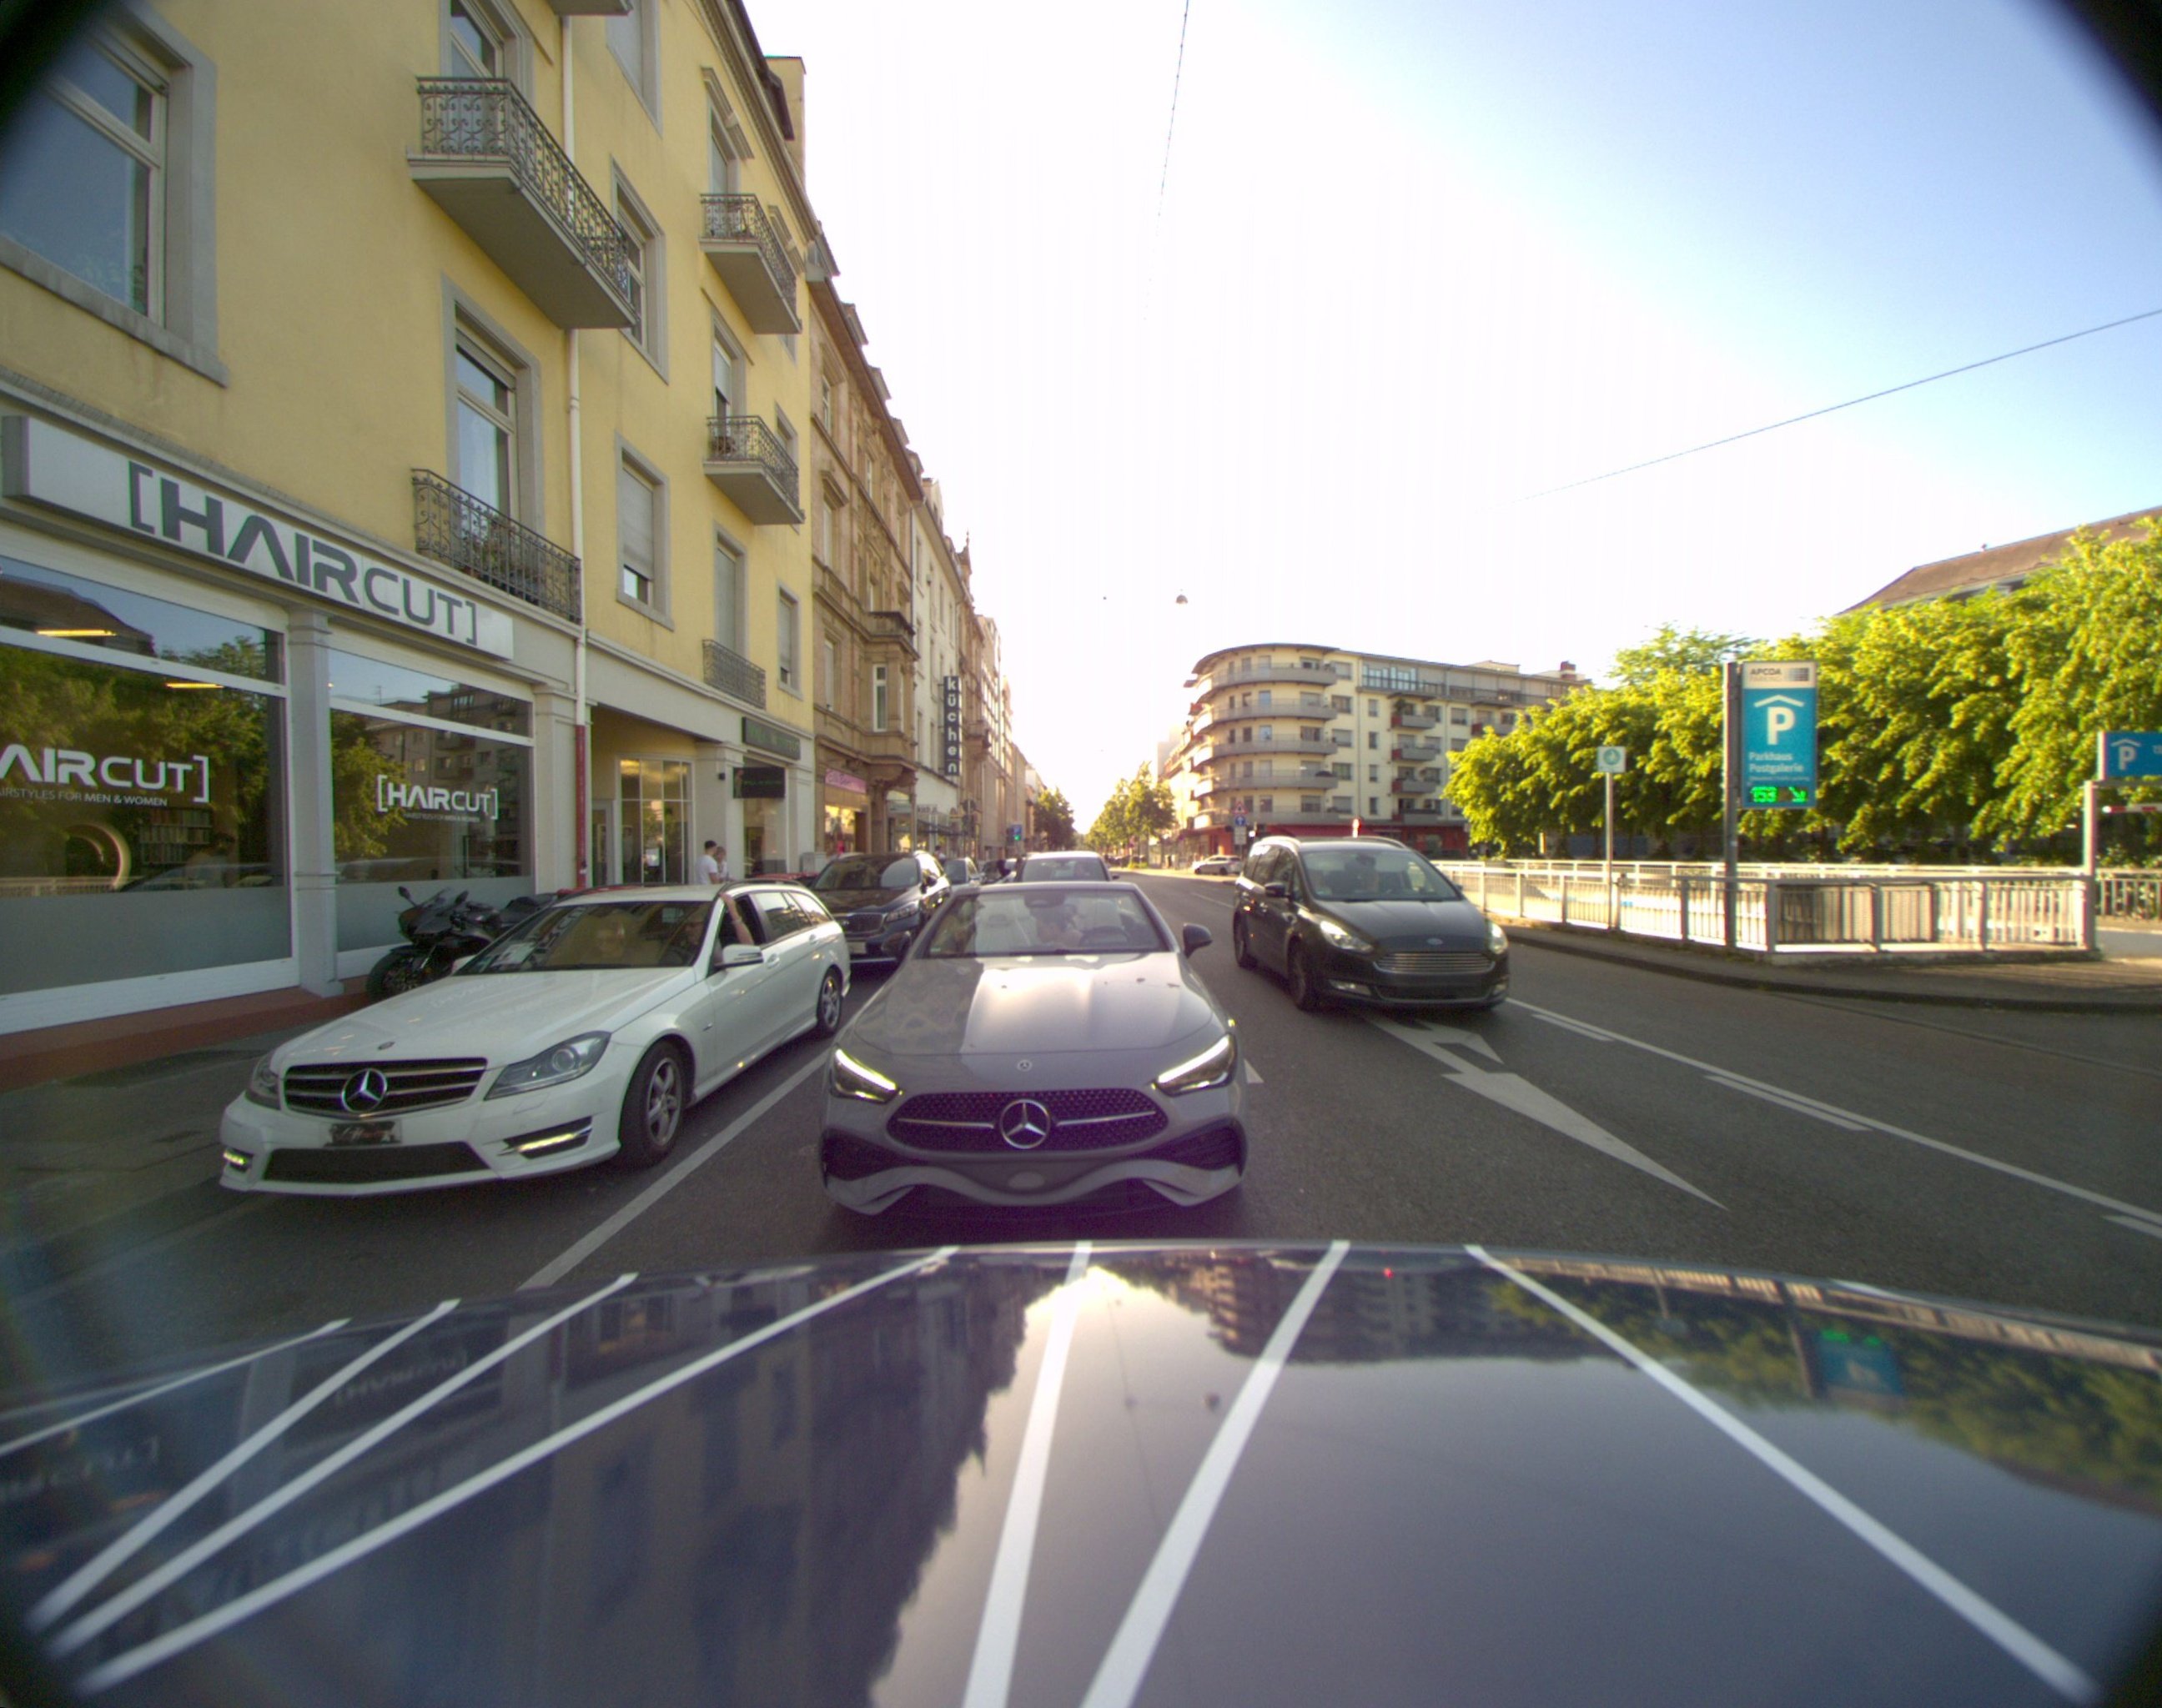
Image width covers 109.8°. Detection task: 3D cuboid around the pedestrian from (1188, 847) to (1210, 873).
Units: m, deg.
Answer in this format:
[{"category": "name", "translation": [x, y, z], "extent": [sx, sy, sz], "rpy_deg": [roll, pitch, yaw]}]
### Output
[{"category": "pedestrian", "translation": [9.214, 0.476, 59.356], "extent": [1.202, 2.002, 1.018], "rpy_deg": [-3, 1, -37]}]

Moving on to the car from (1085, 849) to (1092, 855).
[{"category": "car", "translation": [2.264, -0.497, 227.646], "extent": [1.998, 1.805, 4.000], "rpy_deg": [-1, 0, 2]}]

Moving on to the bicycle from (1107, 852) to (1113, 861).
[{"category": "bicycle", "translation": [3.767, 0.278, 97.890], "extent": [0.661, 1.083, 1.971], "rpy_deg": [-1, 0, 4]}]

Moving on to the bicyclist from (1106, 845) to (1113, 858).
[{"category": "bicyclist", "translation": [3.656, -0.373, 97.996], "extent": [0.757, 1.651, 1.144], "rpy_deg": [-2, 1, 5]}]

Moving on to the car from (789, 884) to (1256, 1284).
[{"category": "car", "translation": [-0.253, 1.016, 5.209], "extent": [1.849, 1.371, 4.255], "rpy_deg": [-2, 0, -1]}]

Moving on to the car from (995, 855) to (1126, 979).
[{"category": "car", "translation": [-0.249, 0.852, 12.170], "extent": [1.716, 1.599, 4.000], "rpy_deg": [-1, 0, 1]}]

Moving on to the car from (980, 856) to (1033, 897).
[{"category": "car", "translation": [-2.939, 0.869, 30.722], "extent": [1.715, 1.477, 3.999], "rpy_deg": [-1, 0, 0]}]

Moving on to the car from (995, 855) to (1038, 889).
[{"category": "car", "translation": [-3.047, 0.817, 36.474], "extent": [1.715, 1.477, 3.999], "rpy_deg": [-1, 0, 0]}]

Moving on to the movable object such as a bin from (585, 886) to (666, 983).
[{"category": "movable object such as a bin", "translation": [-6.057, 1.055, 10.133], "extent": [0.647, 1.200, 0.644], "rpy_deg": [-1, 1, 1]}]

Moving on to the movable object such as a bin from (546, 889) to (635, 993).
[{"category": "movable object such as a bin", "translation": [-6.106, 1.064, 9.481], "extent": [0.647, 1.200, 0.644], "rpy_deg": [-1, 1, 1]}]

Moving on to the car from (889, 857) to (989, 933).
[{"category": "car", "translation": [-3.237, 0.892, 17.871], "extent": [1.696, 1.559, 3.018], "rpy_deg": [-1, 0, 1]}]

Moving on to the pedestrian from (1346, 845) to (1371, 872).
[{"category": "pedestrian", "translation": [21.683, 0.350, 59.389], "extent": [1.234, 2.002, 1.259], "rpy_deg": [-2, 1, -21]}]

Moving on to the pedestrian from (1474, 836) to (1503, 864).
[{"category": "pedestrian", "translation": [29.682, -0.281, 55.313], "extent": [1.320, 2.002, 1.293], "rpy_deg": [-2, 1, -19]}]

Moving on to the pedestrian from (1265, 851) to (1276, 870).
[{"category": "pedestrian", "translation": [15.057, 0.509, 60.264], "extent": [0.791, 1.452, 0.583], "rpy_deg": [-1, 1, 10]}]

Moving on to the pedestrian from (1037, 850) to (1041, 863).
[{"category": "pedestrian", "translation": [-5.925, 0.316, 107.183], "extent": [0.527, 1.875, 0.569], "rpy_deg": [-1, 1, 3]}]

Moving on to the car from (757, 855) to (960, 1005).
[{"category": "car", "translation": [-2.990, 0.894, 11.317], "extent": [1.858, 1.688, 4.697], "rpy_deg": [-1, 0, -4]}]

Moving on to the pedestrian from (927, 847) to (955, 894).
[{"category": "pedestrian", "translation": [-4.886, 0.562, 26.606], "extent": [0.795, 1.607, 0.763], "rpy_deg": [-1, 1, -1]}]

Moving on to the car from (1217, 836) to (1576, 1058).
[{"category": "car", "translation": [2.959, 0.733, 8.457], "extent": [1.999, 1.761, 4.727], "rpy_deg": [-1, 0, 0]}]

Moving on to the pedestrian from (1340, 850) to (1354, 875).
[{"category": "pedestrian", "translation": [18.646, 0.583, 53.266], "extent": [0.674, 1.696, 0.699], "rpy_deg": [-2, 1, -7]}]

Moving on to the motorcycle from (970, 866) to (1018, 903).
[{"category": "motorcycle", "translation": [-3.054, 1.051, 26.781], "extent": [0.769, 1.225, 1.546], "rpy_deg": [-1, 1, 42]}]

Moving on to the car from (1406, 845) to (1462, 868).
[{"category": "car", "translation": [29.039, 0.186, 62.443], "extent": [4.004, 1.740, 1.996], "rpy_deg": [-2, 1, -23]}]

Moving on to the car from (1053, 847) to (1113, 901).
[{"category": "car", "translation": [0.084, 0.652, 27.206], "extent": [1.952, 1.742, 4.000], "rpy_deg": [-1, 0, 1]}]

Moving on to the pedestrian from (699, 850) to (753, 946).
[{"category": "pedestrian", "translation": [-6.125, 0.748, 13.137], "extent": [0.572, 1.607, 0.643], "rpy_deg": [-1, 1, 2]}]

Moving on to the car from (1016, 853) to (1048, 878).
[{"category": "car", "translation": [-3.020, 0.696, 47.587], "extent": [1.715, 1.477, 4.062], "rpy_deg": [-1, 0, 0]}]

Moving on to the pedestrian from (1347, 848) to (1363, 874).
[{"category": "pedestrian", "translation": [19.288, 0.486, 53.475], "extent": [0.755, 1.795, 0.756], "rpy_deg": [-2, 1, -22]}]

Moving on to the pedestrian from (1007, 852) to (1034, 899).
[{"category": "pedestrian", "translation": [-2.199, 0.768, 27.439], "extent": [0.694, 1.657, 0.833], "rpy_deg": [-2, 1, -24]}]

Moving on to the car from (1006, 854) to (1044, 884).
[{"category": "car", "translation": [-2.979, 0.767, 40.992], "extent": [1.715, 1.477, 3.999], "rpy_deg": [-1, 0, 0]}]

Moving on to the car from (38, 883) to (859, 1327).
[{"category": "car", "translation": [-3.074, 1.046, 5.200], "extent": [1.759, 1.453, 4.597], "rpy_deg": [-1, 0, 0]}]

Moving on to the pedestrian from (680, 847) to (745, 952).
[{"category": "pedestrian", "translation": [-5.841, 0.708, 12.070], "extent": [0.642, 1.607, 0.701], "rpy_deg": [-1, 1, -1]}]

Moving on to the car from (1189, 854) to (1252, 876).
[{"category": "car", "translation": [9.621, 0.737, 52.611], "extent": [1.807, 1.426, 4.240], "rpy_deg": [-2, 0, -35]}]

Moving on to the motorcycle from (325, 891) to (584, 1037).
[{"category": "motorcycle", "translation": [-6.260, 1.024, 7.819], "extent": [0.773, 1.158, 2.247], "rpy_deg": [1, 0, 1]}]
